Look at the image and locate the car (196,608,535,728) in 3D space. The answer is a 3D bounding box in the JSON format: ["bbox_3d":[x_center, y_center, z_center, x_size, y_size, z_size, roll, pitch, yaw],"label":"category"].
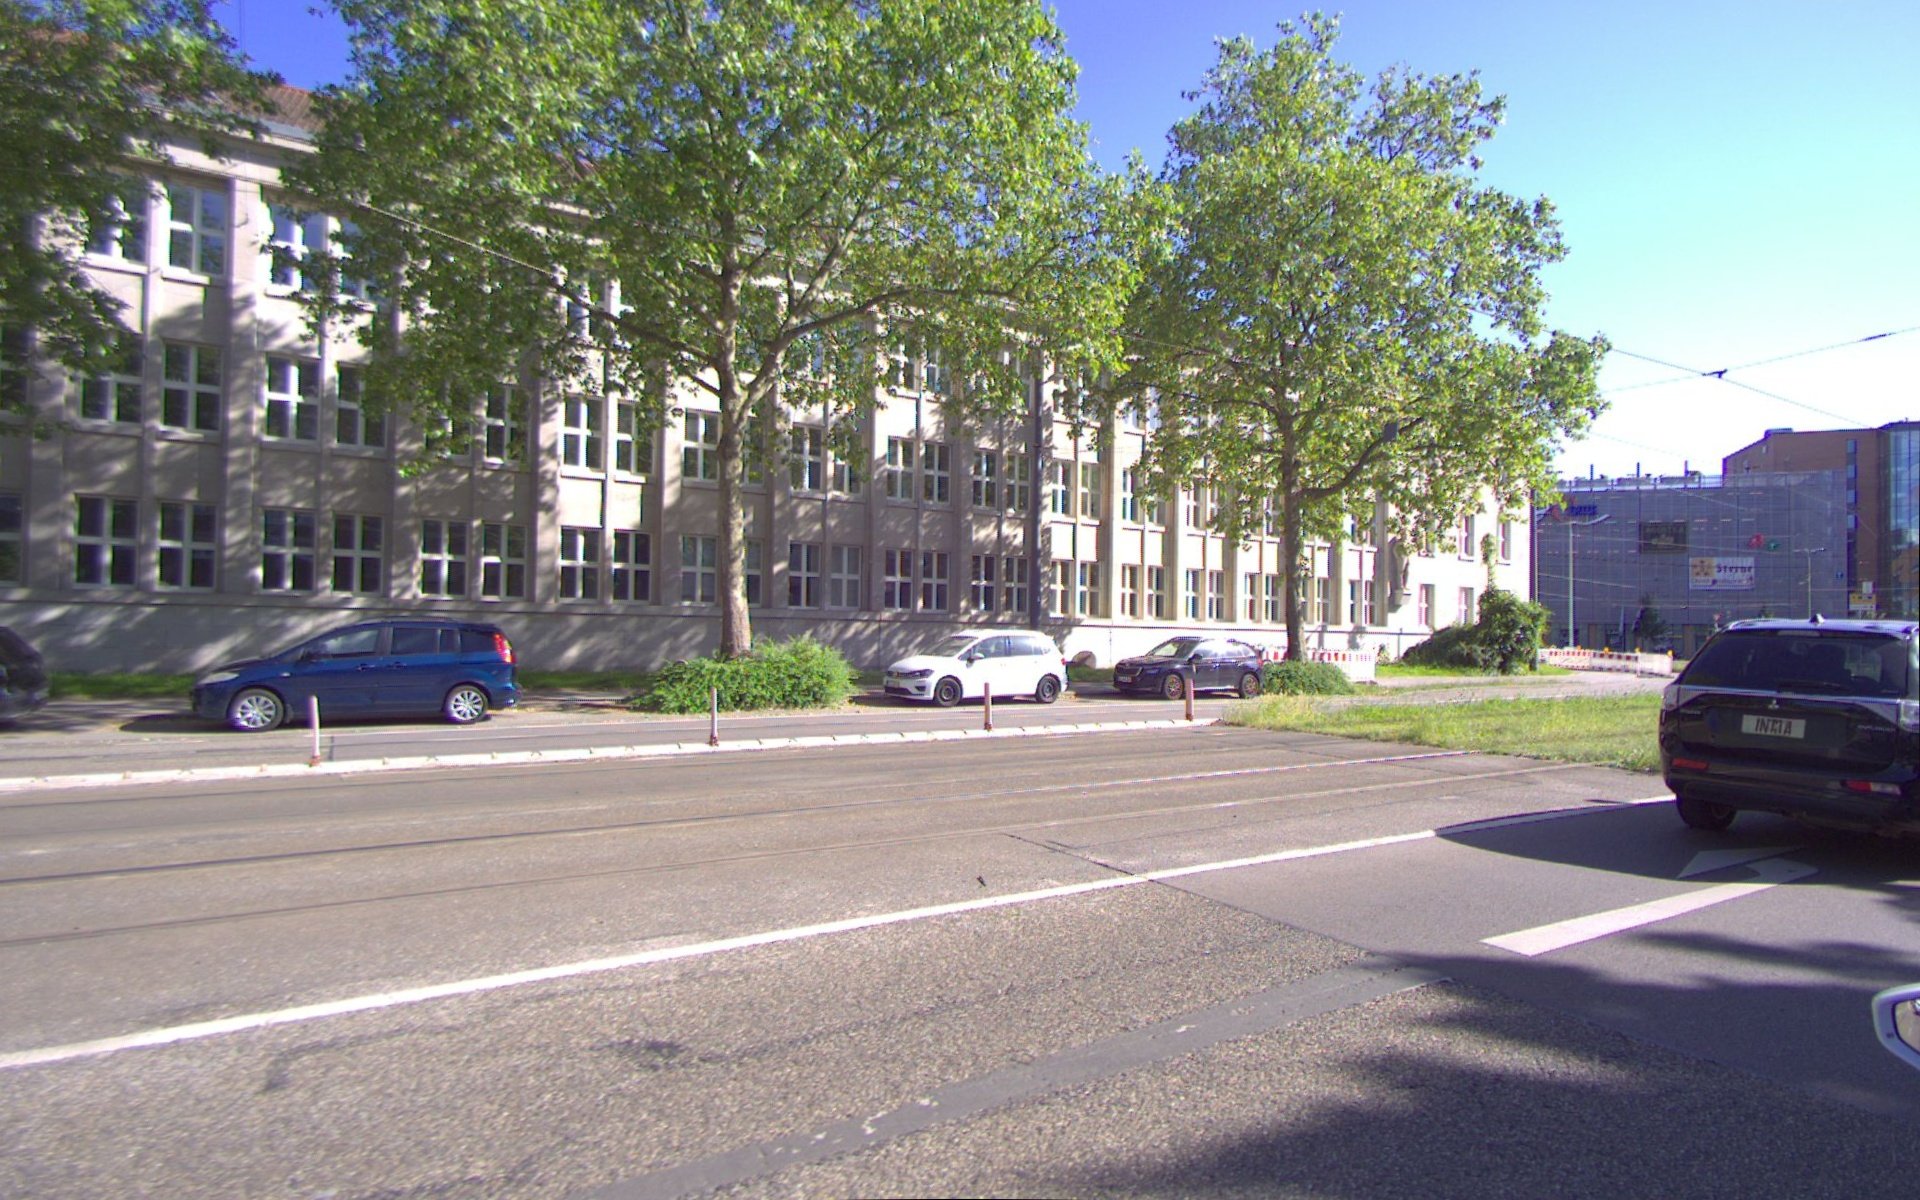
[{"bbox_3d":[-9.217,1.033,15.843,4.351,1.660,1.818,2,-2,-34],"label":"car"}]

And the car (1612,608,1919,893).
[{"bbox_3d":[7.315,1.012,7.943,4.591,1.704,1.826,3,-2,-32],"label":"car"}]

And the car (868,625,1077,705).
[{"bbox_3d":[0.320,1.412,22.078,4.350,1.608,1.819,2,-3,-34],"label":"car"}]

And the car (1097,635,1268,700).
[{"bbox_3d":[5.678,1.686,25.509,4.134,1.512,1.820,2,-2,-32],"label":"car"}]

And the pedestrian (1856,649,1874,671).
[{"bbox_3d":[72.372,4.765,80.322,0.871,1.730,0.713,1,-2,19],"label":"pedestrian"}]

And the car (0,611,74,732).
[{"bbox_3d":[-14.177,0.879,12.751,4.146,1.568,1.661,2,-2,-34],"label":"car"}]
